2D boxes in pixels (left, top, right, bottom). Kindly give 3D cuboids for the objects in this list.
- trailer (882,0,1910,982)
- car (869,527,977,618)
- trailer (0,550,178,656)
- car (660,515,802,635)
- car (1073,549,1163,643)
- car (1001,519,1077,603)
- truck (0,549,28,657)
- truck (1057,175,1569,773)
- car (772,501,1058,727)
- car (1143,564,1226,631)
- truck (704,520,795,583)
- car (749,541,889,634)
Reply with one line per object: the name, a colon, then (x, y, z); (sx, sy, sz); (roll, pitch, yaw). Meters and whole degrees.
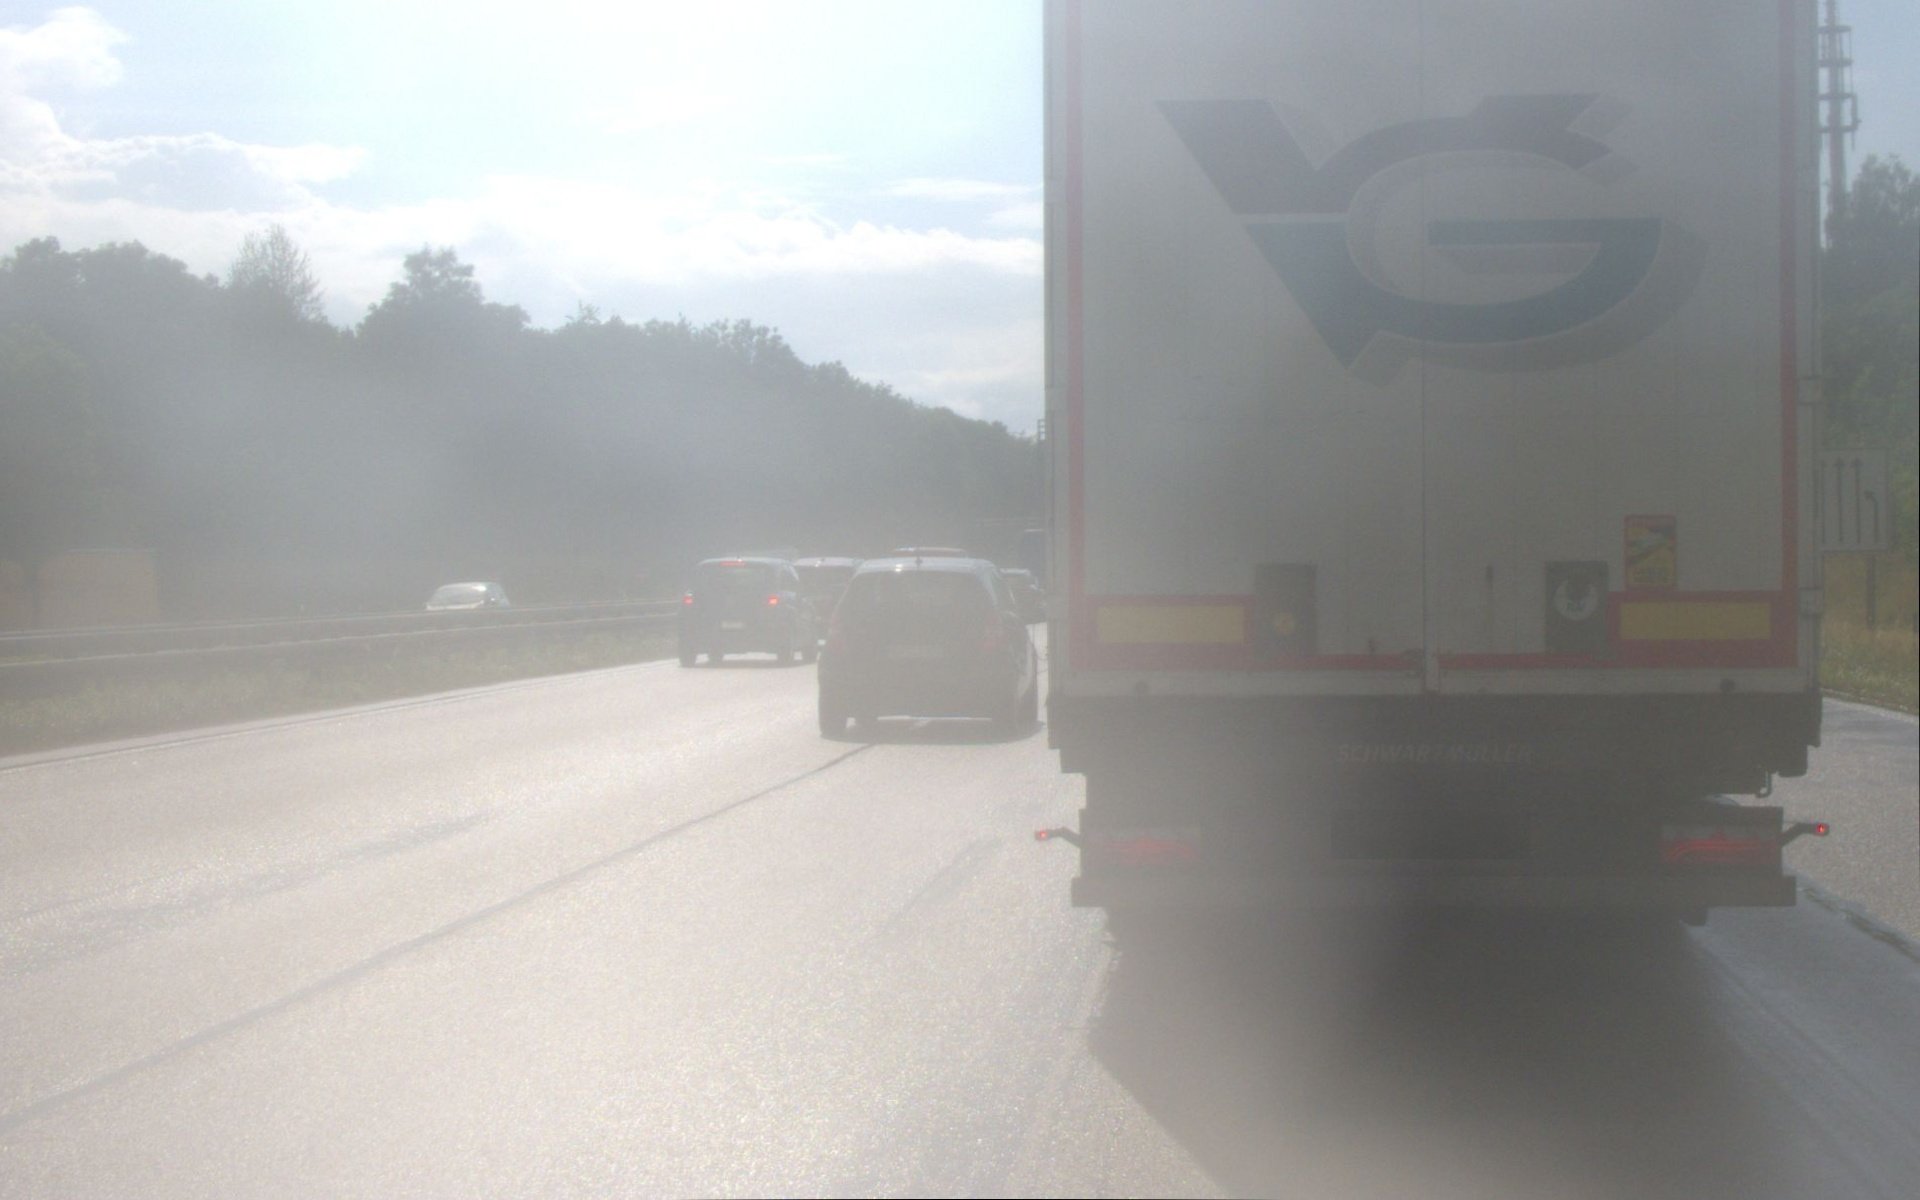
trailer: (1.957, -0.807, 18.207); (3.284, 3.885, 14.126); (1, 1, 5)
car: (-0.826, -0.633, 80.128); (1.979, 2.047, 4.755); (0, 0, 6)
trailer: (-36.353, 0.095, 138.591); (3.791, 4.103, 11.714); (0, 0, 19)
car: (-3.513, -0.379, 53.424); (1.692, 1.798, 3.975); (0, 0, 4)
car: (3.166, -0.087, 68.354); (1.692, 1.798, 3.975); (0, 0, 4)
car: (2.552, -1.216, 109.727); (1.994, 2.606, 5.258); (0, 0, 6)
truck: (-39.095, 0.104, 130.624); (3.791, 4.103, 7.039); (0, 0, 19)
truck: (2.545, -0.867, 25.606); (3.285, 3.877, 6.395); (1, 1, 5)
car: (-0.327, 0.112, 32.219); (2.274, 1.948, 4.820); (0, 0, 4)
car: (5.188, -0.062, 79.726); (1.865, 1.511, 3.975); (0, 0, 3)
truck: (-9.246, -2.103, 151.712); (2.843, 2.673, 7.190); (0, 0, 6)
car: (-2.570, -0.233, 63.615); (1.909, 1.631, 4.616); (-1, 0, 6)
